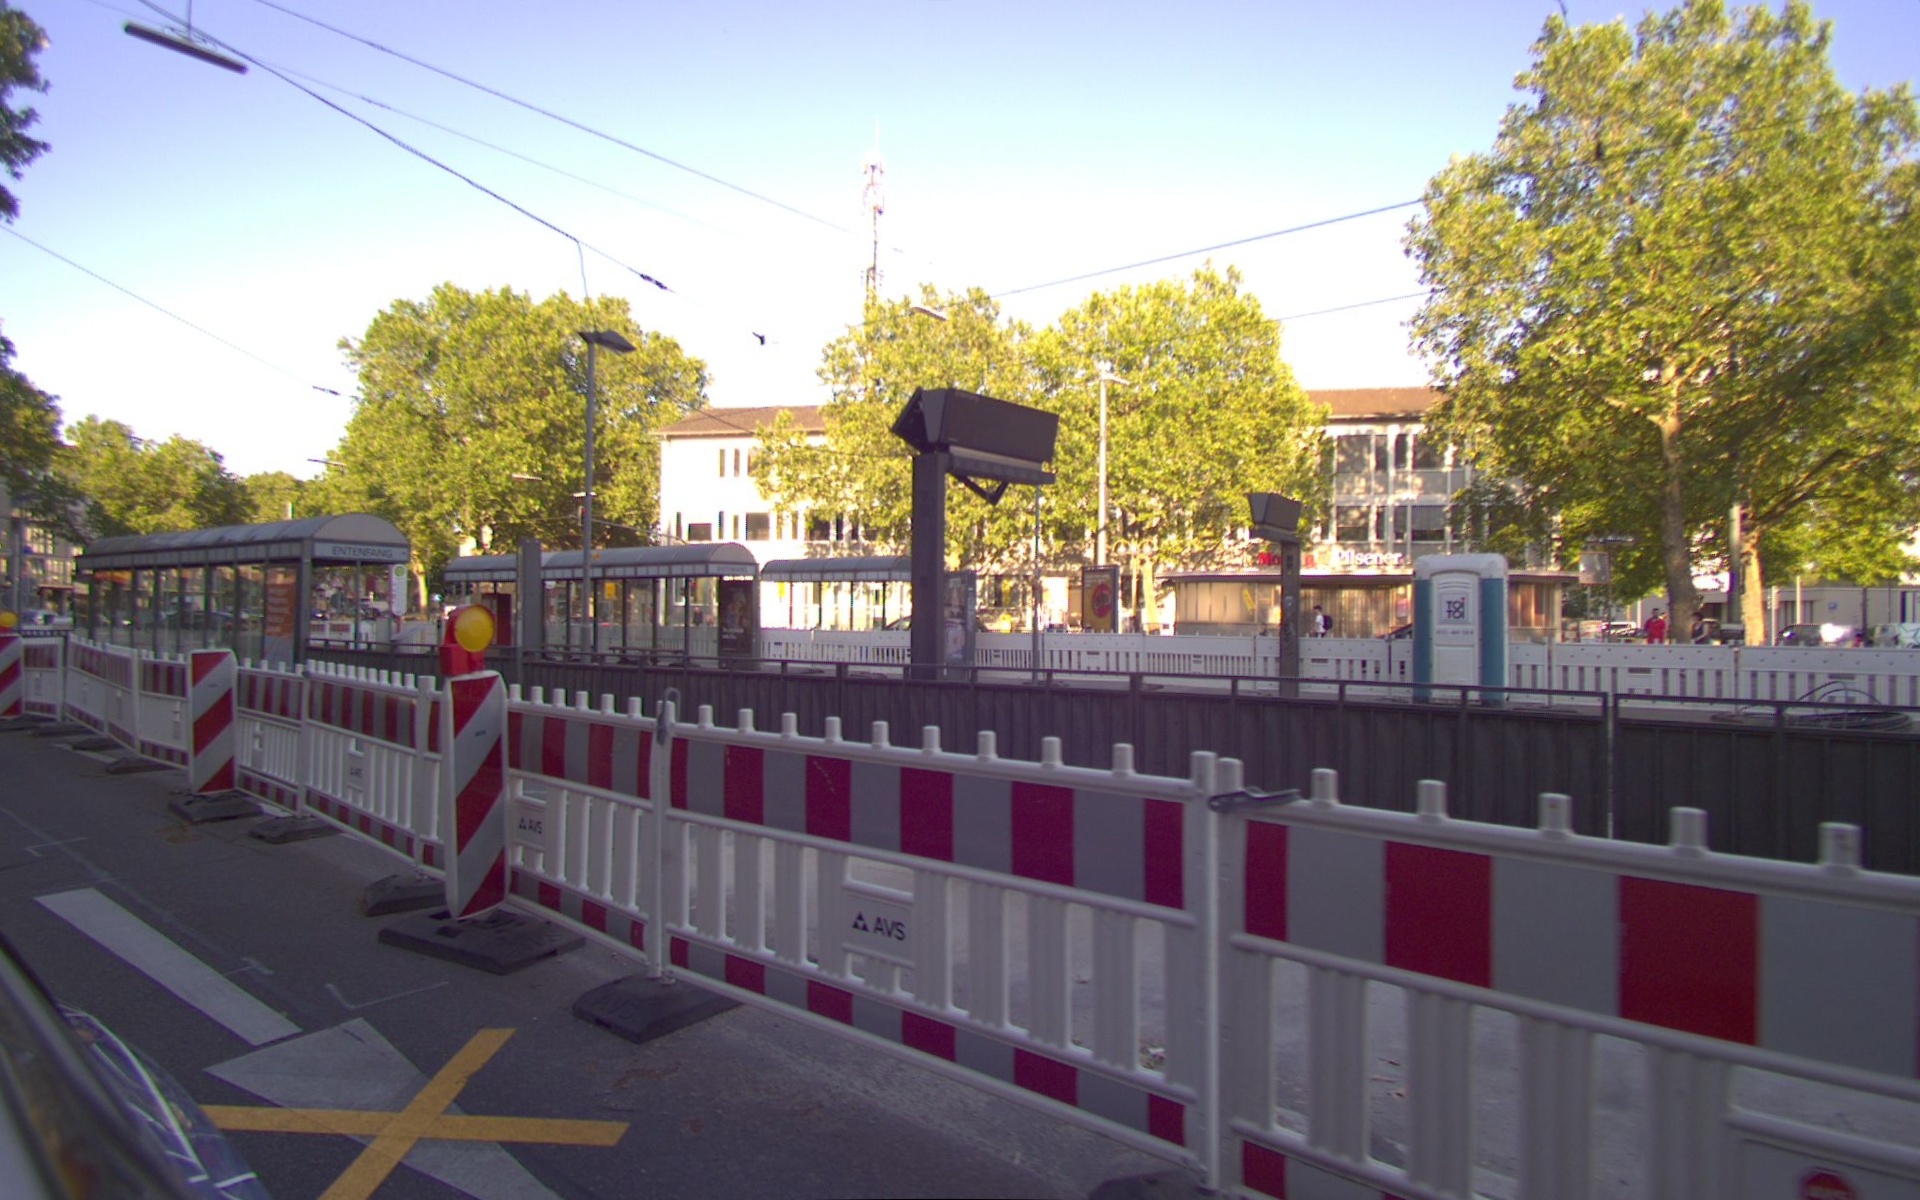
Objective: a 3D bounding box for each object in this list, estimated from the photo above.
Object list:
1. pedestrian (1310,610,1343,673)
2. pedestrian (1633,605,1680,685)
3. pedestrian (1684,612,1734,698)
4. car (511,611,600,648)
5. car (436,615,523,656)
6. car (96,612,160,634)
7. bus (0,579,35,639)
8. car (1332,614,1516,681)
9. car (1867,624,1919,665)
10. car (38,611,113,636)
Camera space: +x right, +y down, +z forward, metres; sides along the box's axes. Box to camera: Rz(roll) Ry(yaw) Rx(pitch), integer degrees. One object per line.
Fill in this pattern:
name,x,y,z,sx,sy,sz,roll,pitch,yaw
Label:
pedestrian,12.011,1.334,33.158,0.884,2.029,0.874,-1,-2,31
pedestrian,18.303,1.169,26.584,0.883,2.029,0.875,-1,-2,42
pedestrian,18.244,1.316,24.663,0.883,2.029,0.875,-1,-2,42
car,-17.776,1.268,44.509,3.362,1.586,1.674,0,-1,17
car,-22.618,1.620,47.581,3.990,1.829,1.976,0,-1,35
car,-62.388,1.737,75.970,1.966,1.608,4.574,0,-1,-15
bus,-53.380,0.547,54.793,2.694,3.231,12.397,-1,0,-32
car,11.742,1.160,25.726,3.964,1.578,1.788,-1,-1,38
car,49.679,2.274,51.812,4.396,2.029,1.993,0,-1,11
car,-59.908,1.587,68.633,1.966,1.608,4.574,0,0,-15
